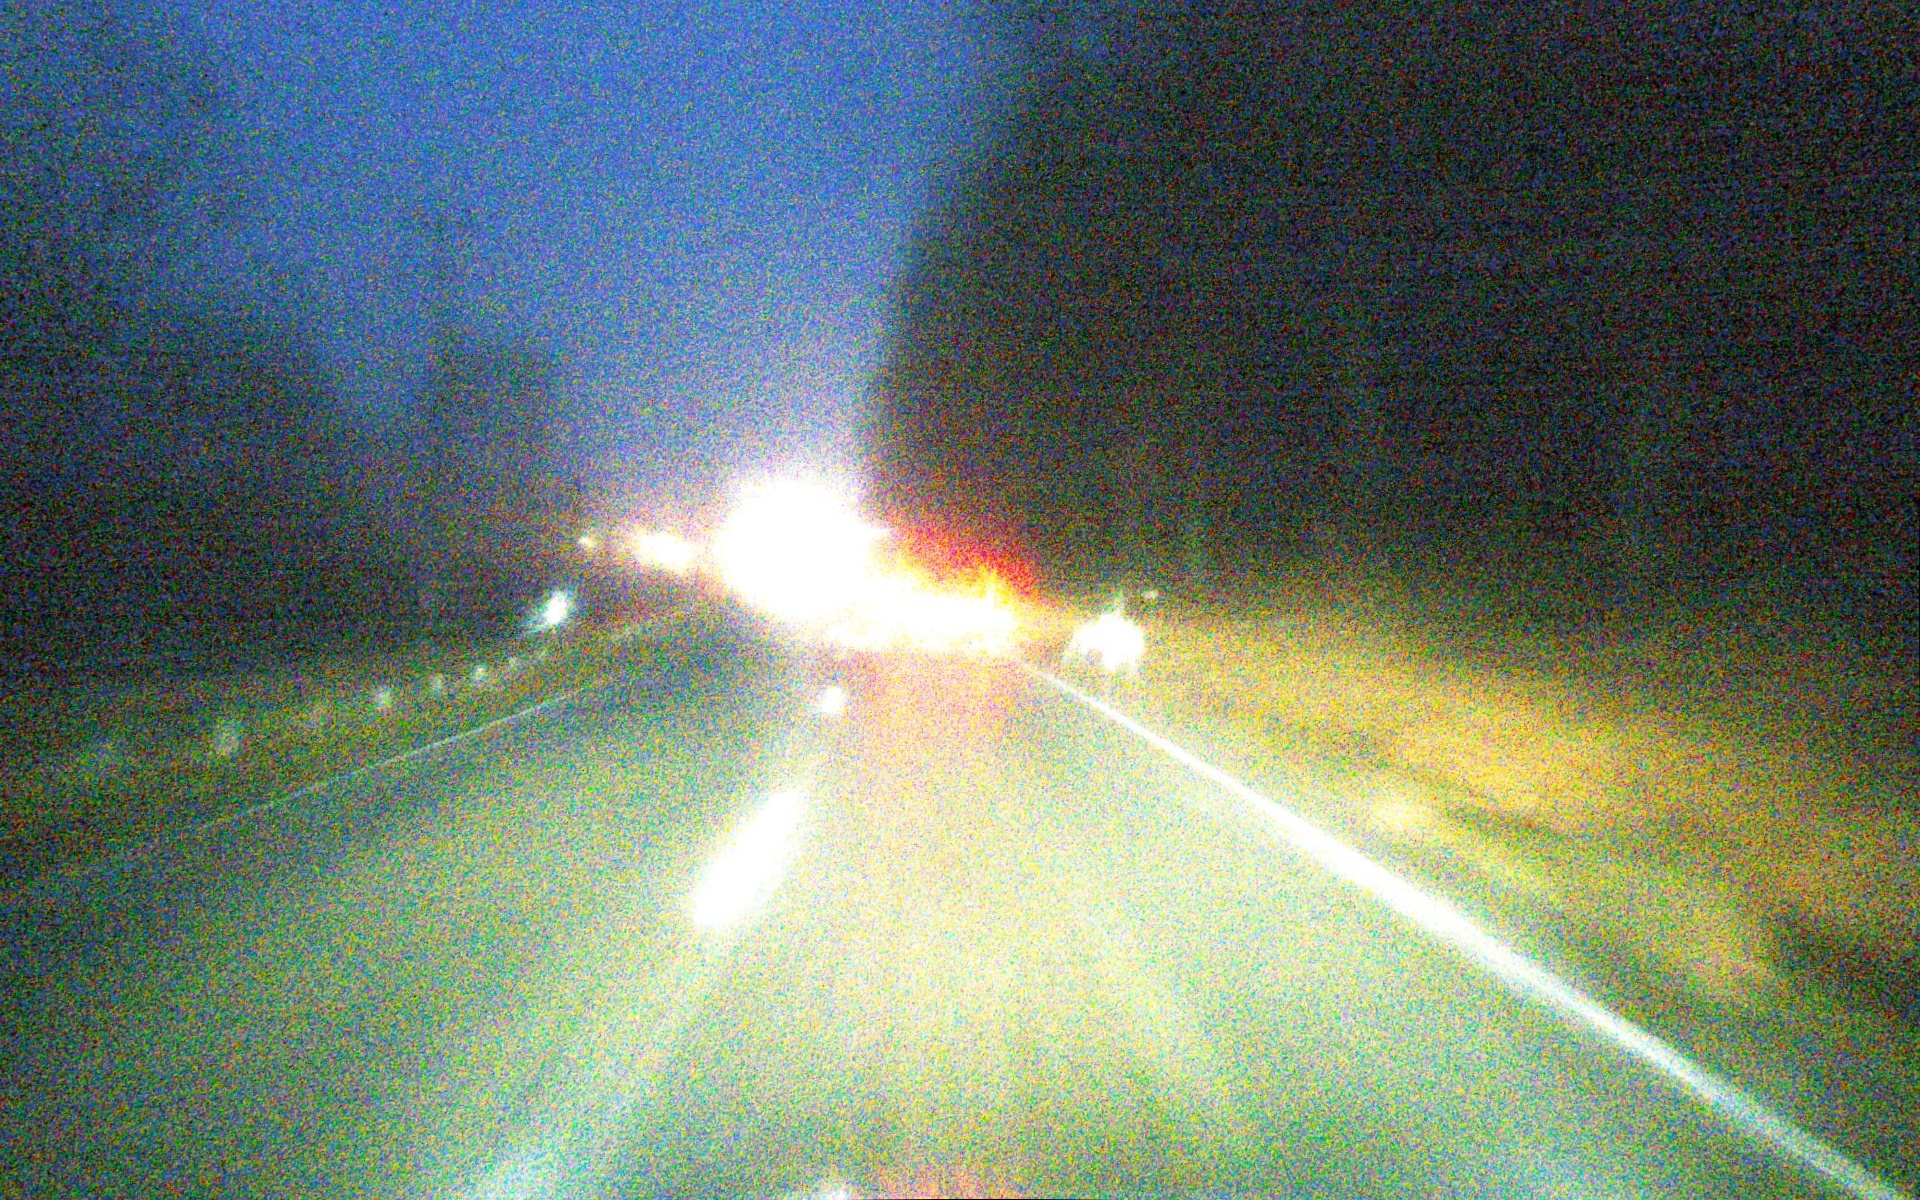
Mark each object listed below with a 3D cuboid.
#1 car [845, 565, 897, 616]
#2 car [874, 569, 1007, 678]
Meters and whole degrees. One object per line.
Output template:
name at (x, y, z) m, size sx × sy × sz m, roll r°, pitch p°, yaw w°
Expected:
car at (-3.893, -0.411, 71.649) m, size 1.955 × 2.048 × 3.995 m, roll 3°, pitch 0°, yaw -6°
car at (-0.487, 0.431, 33.363) m, size 2.409 × 1.992 × 4.908 m, roll 1°, pitch 0°, yaw -4°
